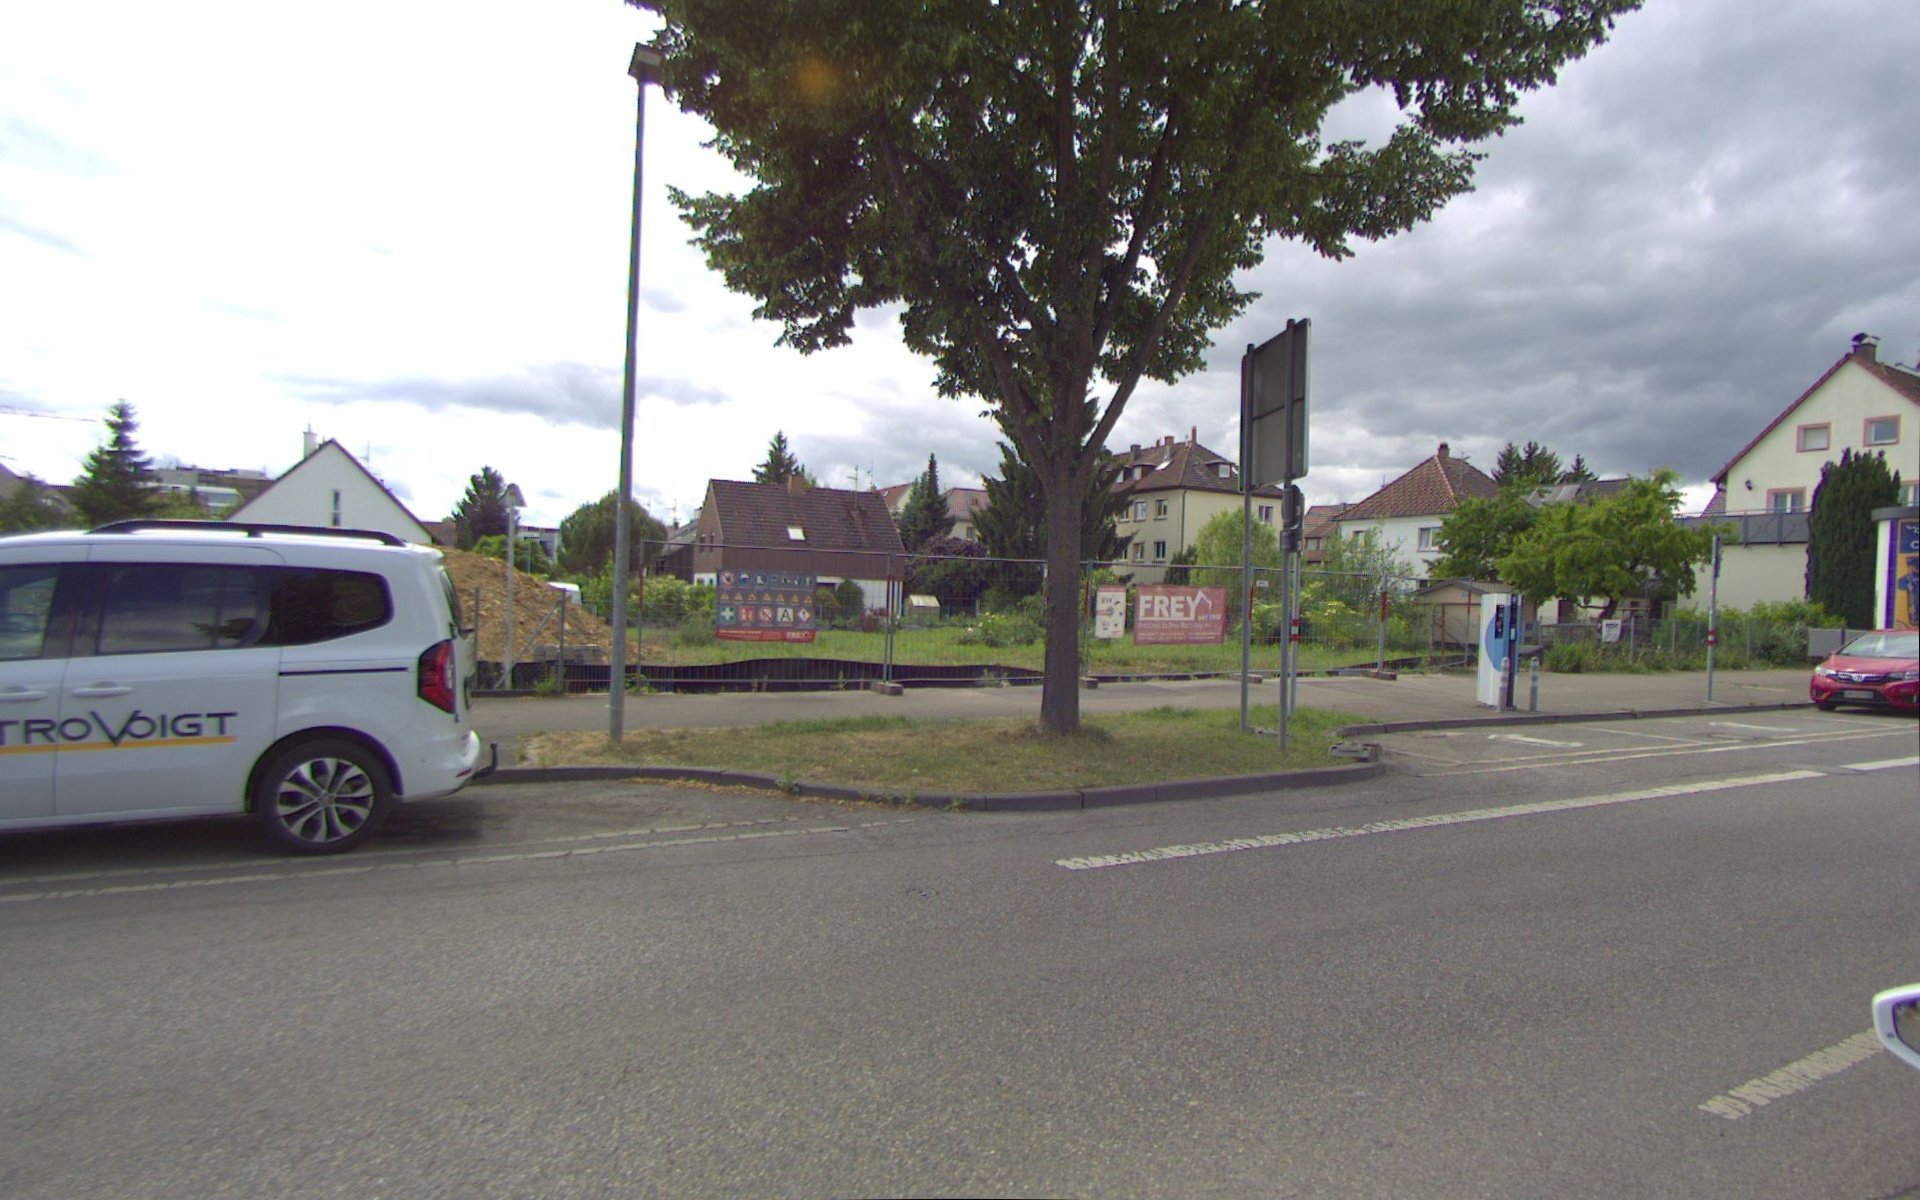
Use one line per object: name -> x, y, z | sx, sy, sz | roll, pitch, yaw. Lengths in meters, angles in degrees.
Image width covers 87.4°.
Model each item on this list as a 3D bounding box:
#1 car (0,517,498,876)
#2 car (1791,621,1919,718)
car -> -5.182, 0.473, 5.802 | 4.493, 1.794, 1.764 | 1, 0, -27
car -> 17.250, 1.224, 18.382 | 4.079, 1.561, 1.679 | 1, 0, -27
